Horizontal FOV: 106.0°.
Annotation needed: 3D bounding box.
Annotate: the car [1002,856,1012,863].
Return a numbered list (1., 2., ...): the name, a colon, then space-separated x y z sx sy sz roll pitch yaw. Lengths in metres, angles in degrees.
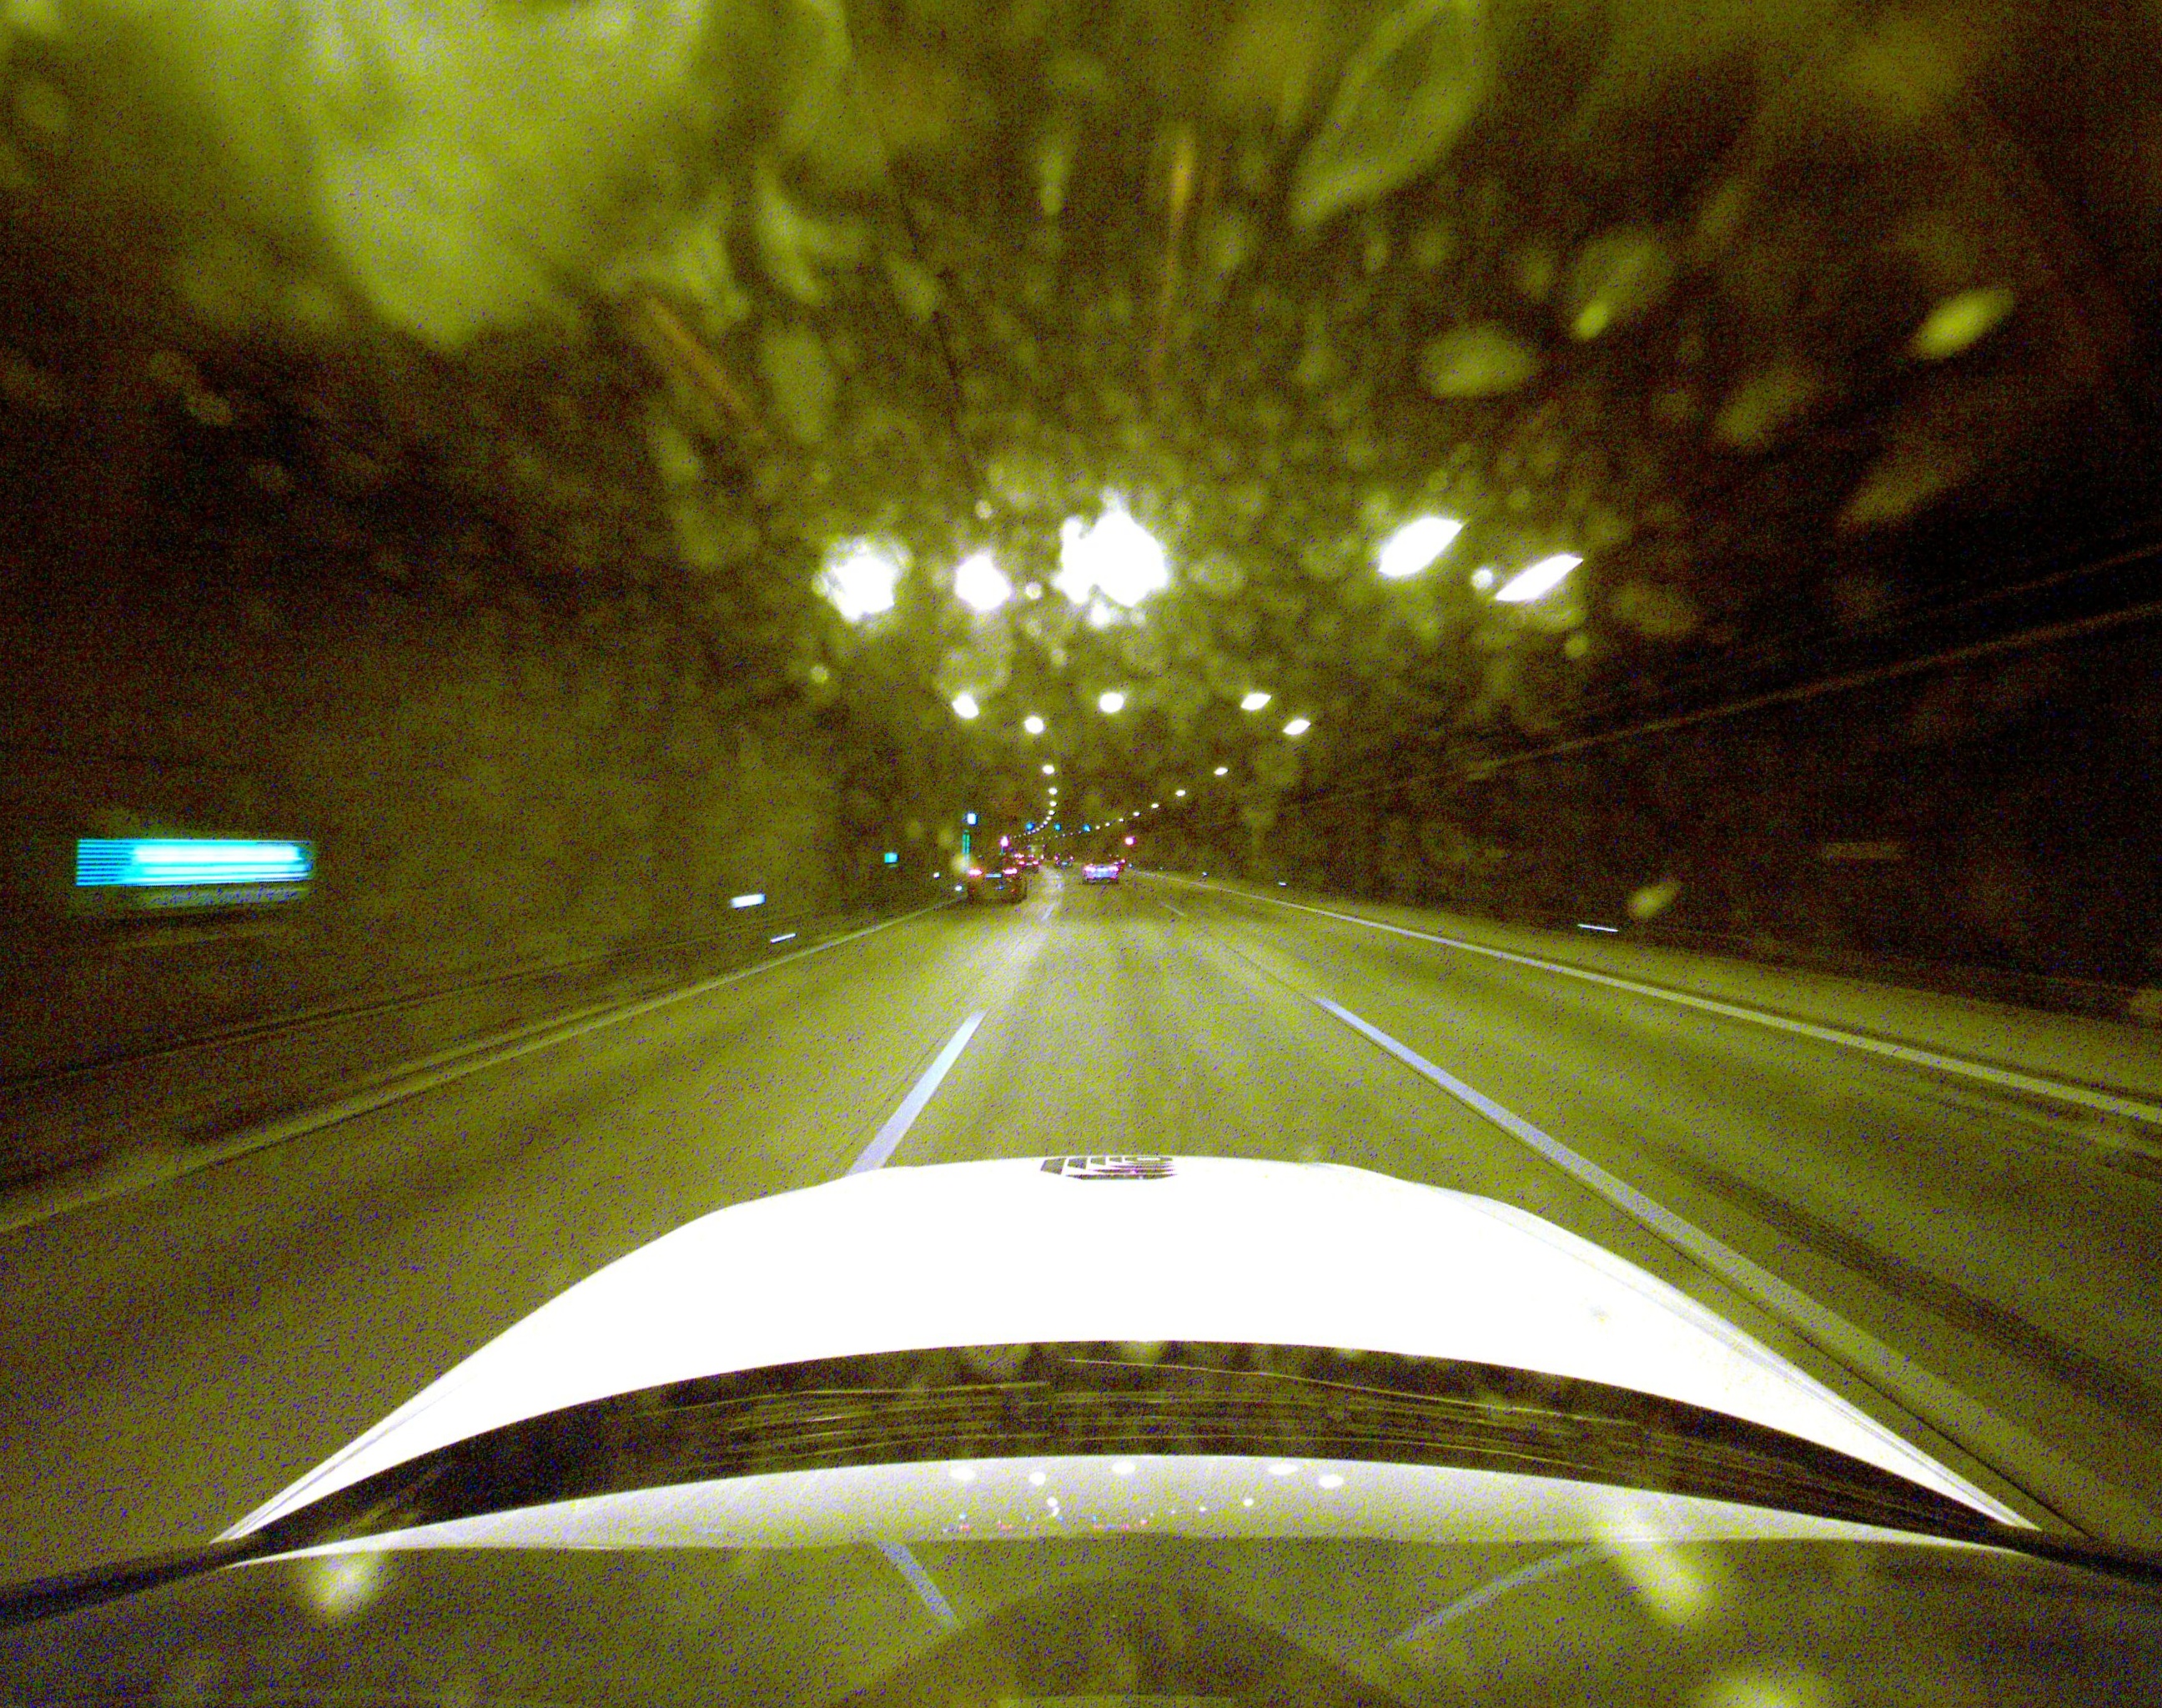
1. car: -15.948 1.255 174.686 1.993 1.530 3.988 0 -1 -8

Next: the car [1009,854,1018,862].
1. car: -15.912 0.910 191.020 1.990 1.754 3.993 0 -1 -5

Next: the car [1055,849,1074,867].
1. car: -1.844 0.467 89.854 1.988 1.972 3.998 -1 0 -1

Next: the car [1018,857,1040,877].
1. car: -4.553 1.091 71.587 1.796 1.684 3.996 0 0 -3

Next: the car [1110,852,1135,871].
1. car: 3.586 0.689 71.388 1.835 1.602 3.996 0 0 -3

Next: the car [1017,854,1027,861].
1. car: -14.852 0.975 205.558 1.994 1.754 3.985 0 -1 -11

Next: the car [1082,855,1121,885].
1. car: 1.042 0.813 42.891 1.987 1.483 4.000 0 0 0

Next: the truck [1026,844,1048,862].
1. truck: -7.678 -0.220 139.624 3.080 3.113 10.005 0 1 -7

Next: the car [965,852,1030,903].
1. car: -2.781 0.739 27.867 1.780 1.598 3.800 -1 0 0
